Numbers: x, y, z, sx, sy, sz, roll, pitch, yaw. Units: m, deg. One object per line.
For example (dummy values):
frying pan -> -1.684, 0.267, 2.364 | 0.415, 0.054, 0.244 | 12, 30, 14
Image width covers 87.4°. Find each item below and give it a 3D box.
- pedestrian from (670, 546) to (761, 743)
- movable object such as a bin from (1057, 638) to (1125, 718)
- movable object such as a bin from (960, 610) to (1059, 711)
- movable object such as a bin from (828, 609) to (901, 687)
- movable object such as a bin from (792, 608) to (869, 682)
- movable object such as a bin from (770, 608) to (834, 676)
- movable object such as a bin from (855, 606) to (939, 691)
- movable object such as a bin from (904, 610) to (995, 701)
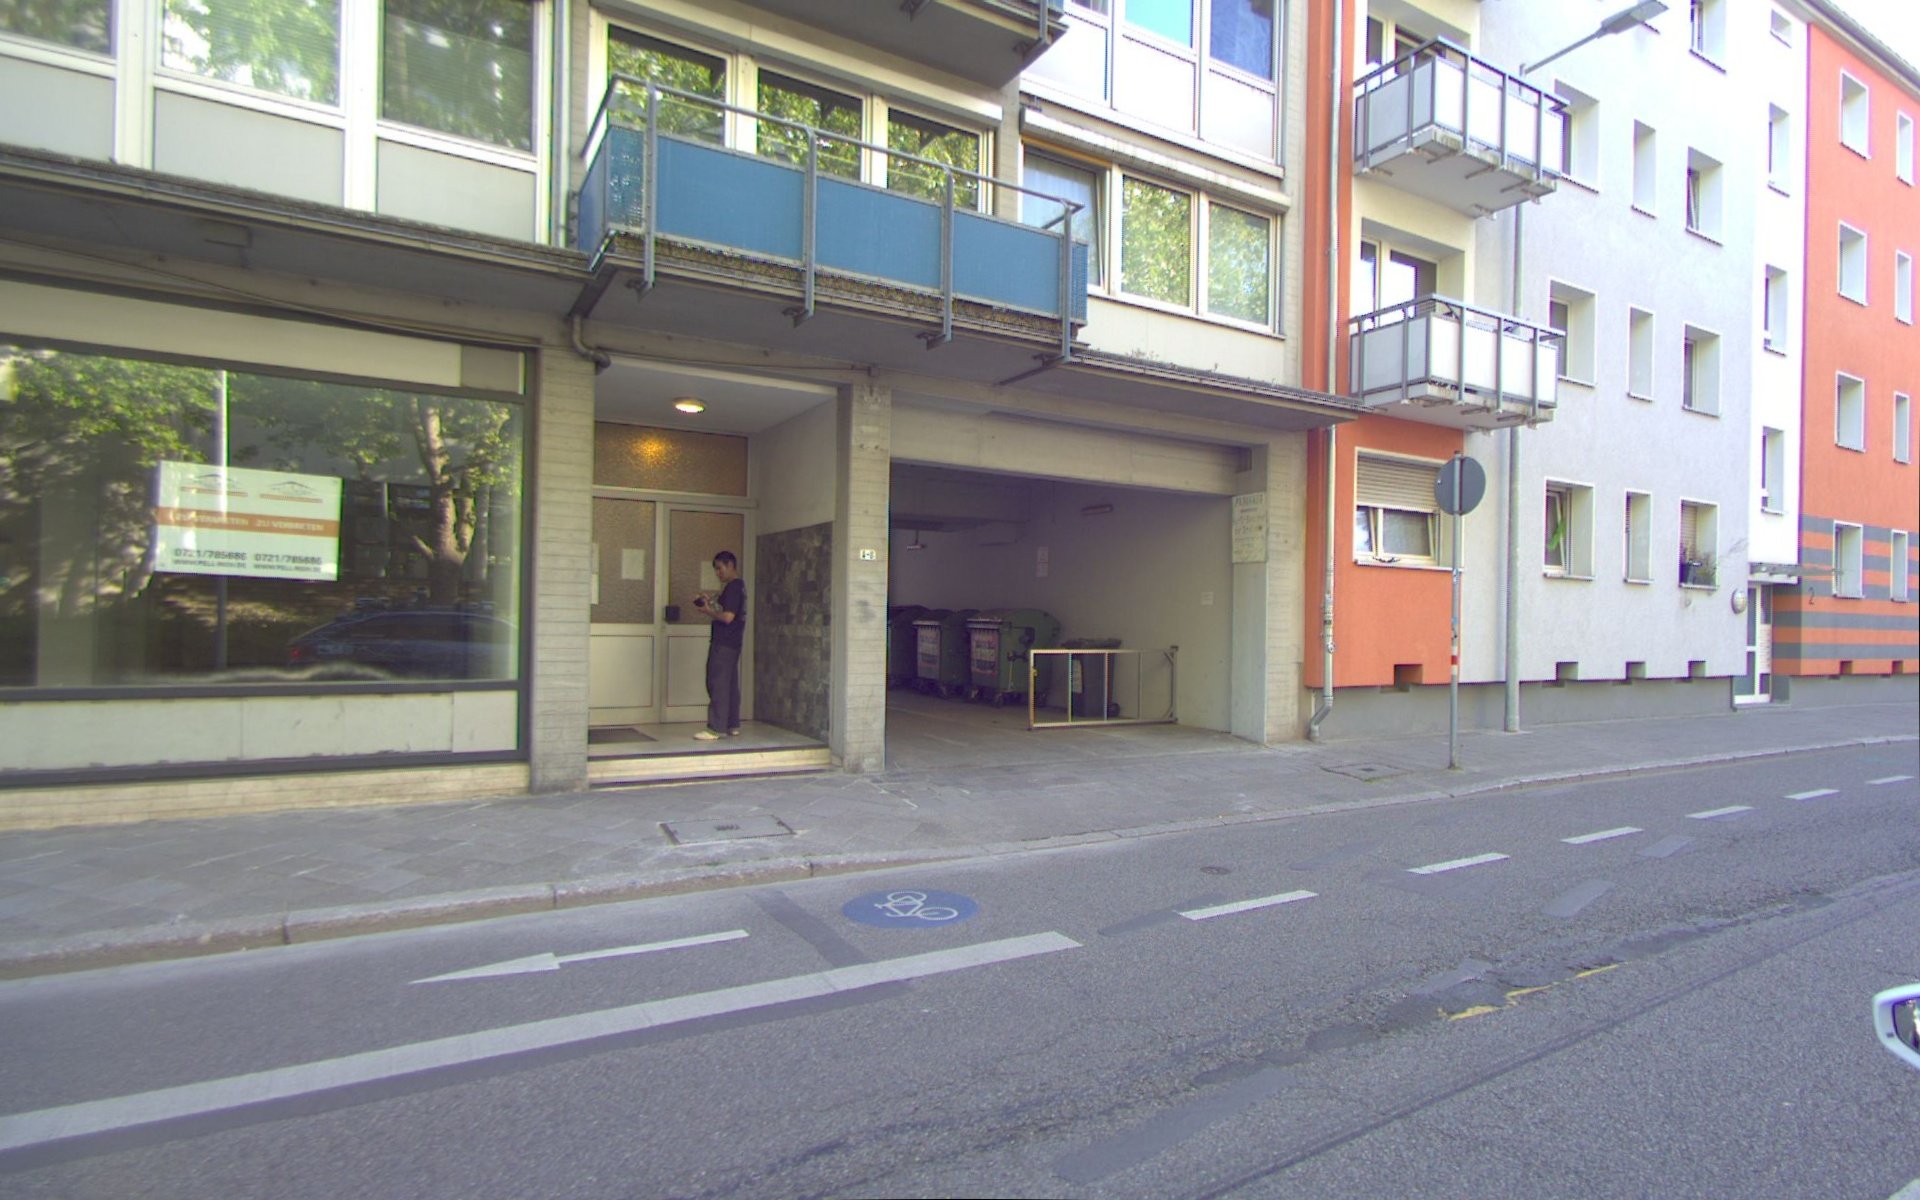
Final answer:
pedestrian -> -2.283, 0.402, 9.412 | 0.518, 1.764, 0.630 | 1, 0, 27
movable object such as a bin -> 1.804, 1.059, 13.853 | 0.704, 1.054, 0.583 | 1, 0, -30
movable object such as a bin -> 0.724, 0.877, 15.188 | 1.009, 1.438, 1.321 | 1, 0, -23
movable object such as a bin -> -1.815, 0.892, 19.049 | 1.012, 1.409, 1.046 | 1, 0, -31
movable object such as a bin -> -2.583, 0.882, 20.019 | 1.014, 1.409, 1.264 | 1, -1, -37
movable object such as a bin -> -3.392, 0.878, 21.477 | 1.010, 1.409, 1.246 | 1, 0, -26
movable object such as a bin -> -1.145, 0.846, 18.020 | 1.011, 1.462, 1.318 | 1, 0, -29
movable object such as a bin -> -0.185, 0.885, 16.507 | 1.011, 1.409, 1.319 | 1, 0, -27
